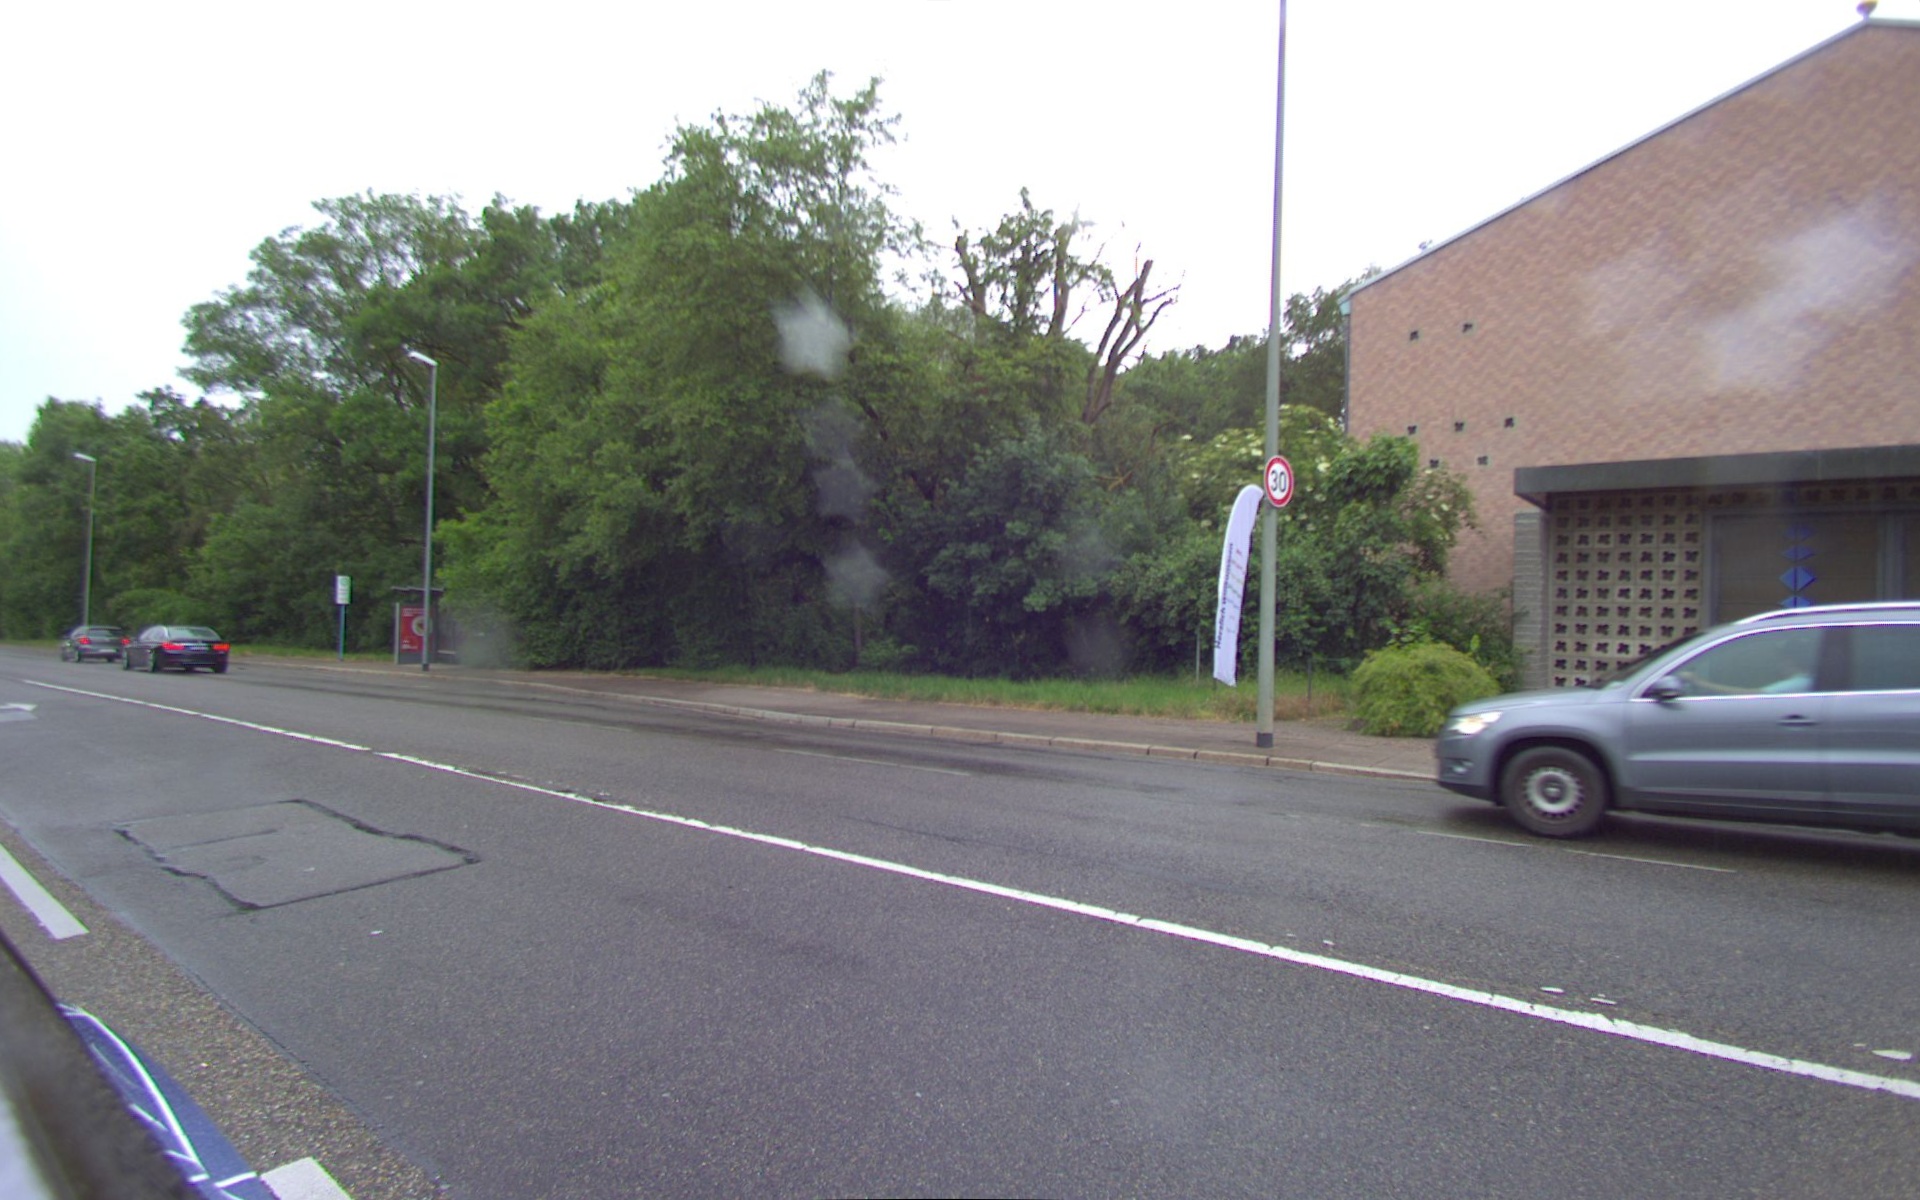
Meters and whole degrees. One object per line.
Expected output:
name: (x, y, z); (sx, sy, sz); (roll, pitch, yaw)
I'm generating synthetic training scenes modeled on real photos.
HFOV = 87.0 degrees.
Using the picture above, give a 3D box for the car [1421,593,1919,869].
car: (5.727, 0.807, 6.994); (4.312, 1.603, 1.890); (-1, -3, 38)

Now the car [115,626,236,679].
car: (-24.928, 1.643, 32.091); (4.944, 1.465, 1.891); (-1, -5, 40)

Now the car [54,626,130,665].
car: (-34.316, 1.777, 39.982); (3.901, 1.440, 1.578); (-1, -3, 39)
